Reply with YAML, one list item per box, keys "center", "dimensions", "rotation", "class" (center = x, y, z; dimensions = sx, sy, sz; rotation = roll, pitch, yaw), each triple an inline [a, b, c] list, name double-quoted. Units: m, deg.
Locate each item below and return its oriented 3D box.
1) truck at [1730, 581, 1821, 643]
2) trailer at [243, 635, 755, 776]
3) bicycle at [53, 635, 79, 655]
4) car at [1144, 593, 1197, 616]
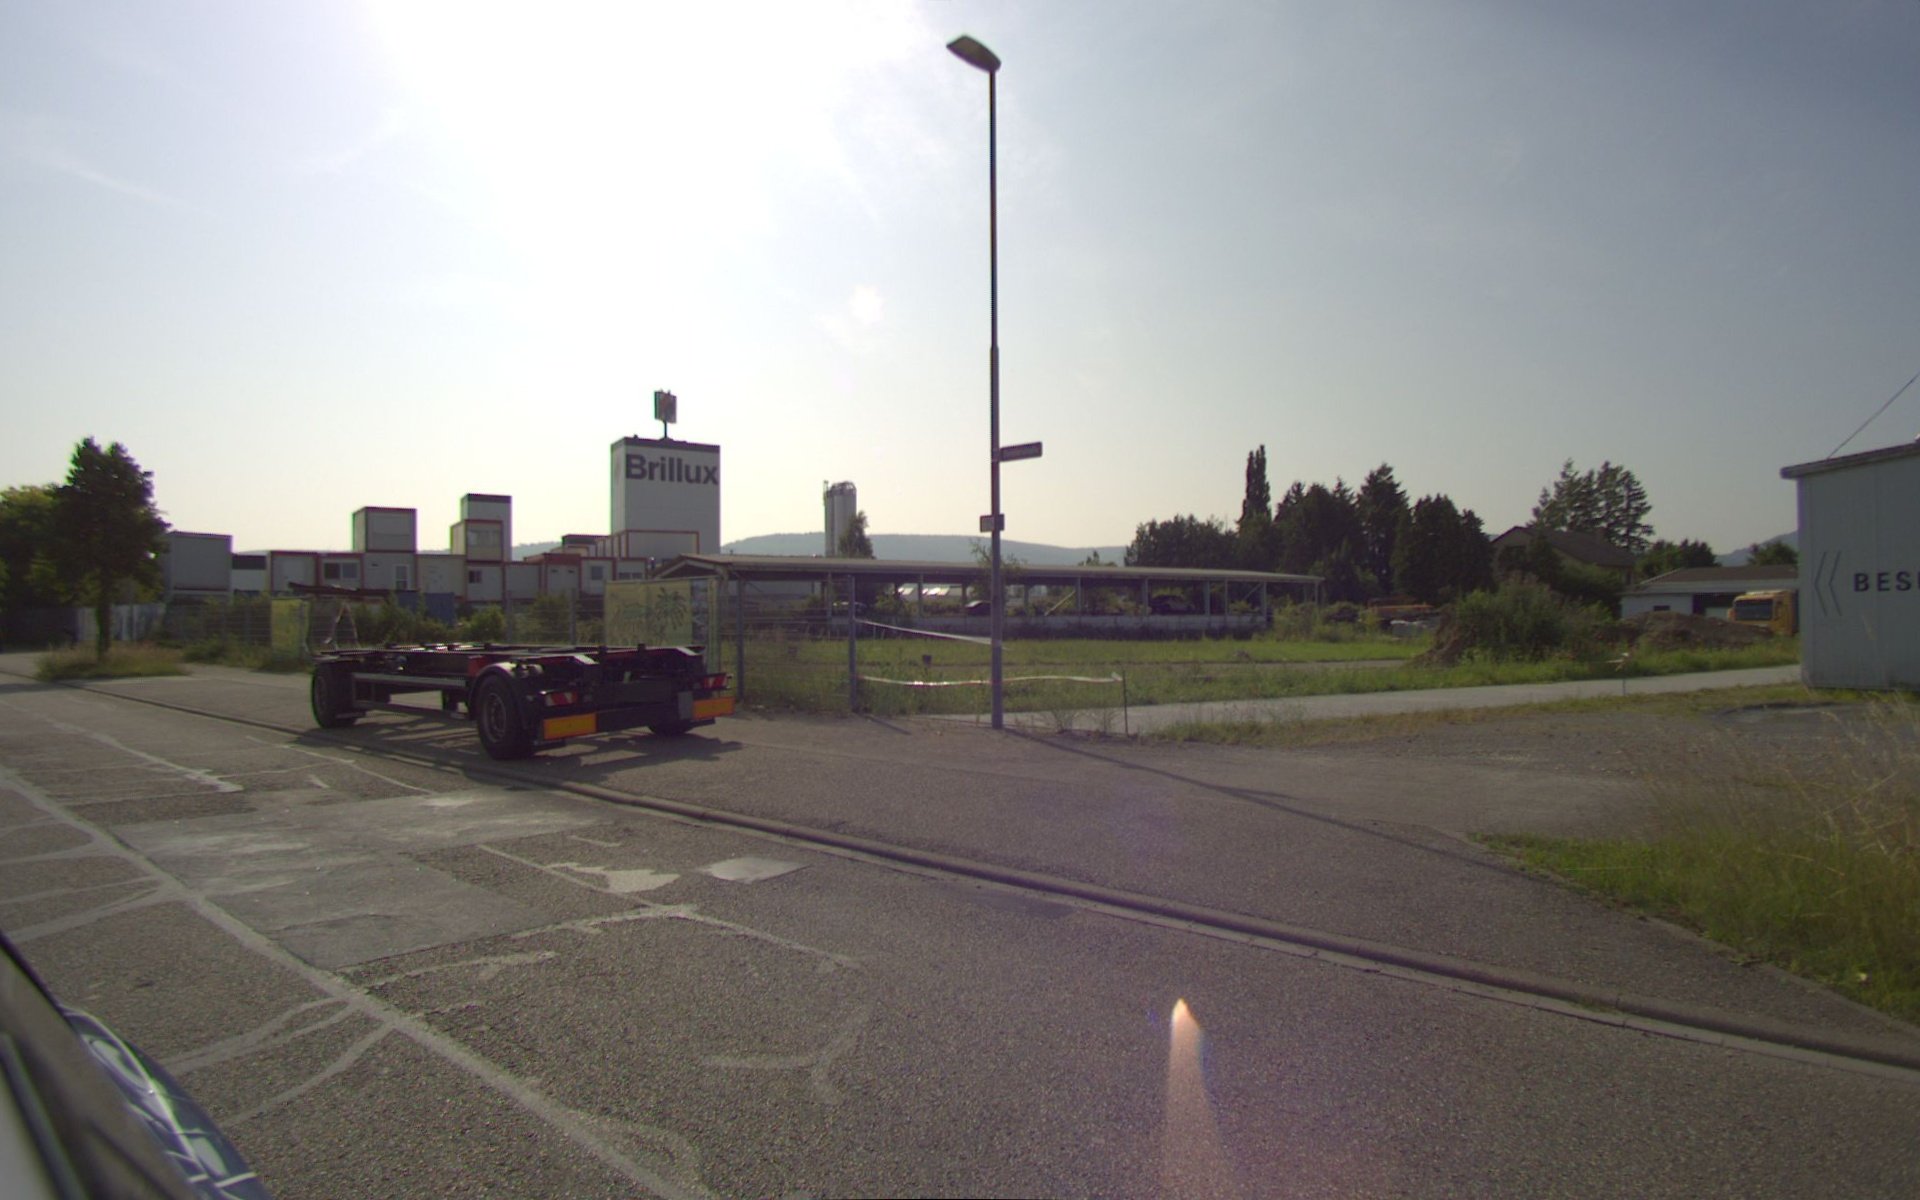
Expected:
- center: [54.198, 0.825, 67.217]
  dimensions: [7.463, 3.916, 2.906]
  rotation: [1, -2, -37]
  class: "truck"
- center: [-6.792, 1.160, 13.800]
  dimensions: [9.354, 1.193, 2.557]
  rotation: [-1, 0, 40]
  class: "trailer"
- center: [-43.704, 2.186, 49.447]
  dimensions: [2.450, 0.980, 0.556]
  rotation: [-1, -2, 40]
  class: "bicycle"
- center: [16.616, 0.356, 79.821]
  dimensions: [3.836, 1.821, 1.752]
  rotation: [0, -1, -30]
  class: "car"
